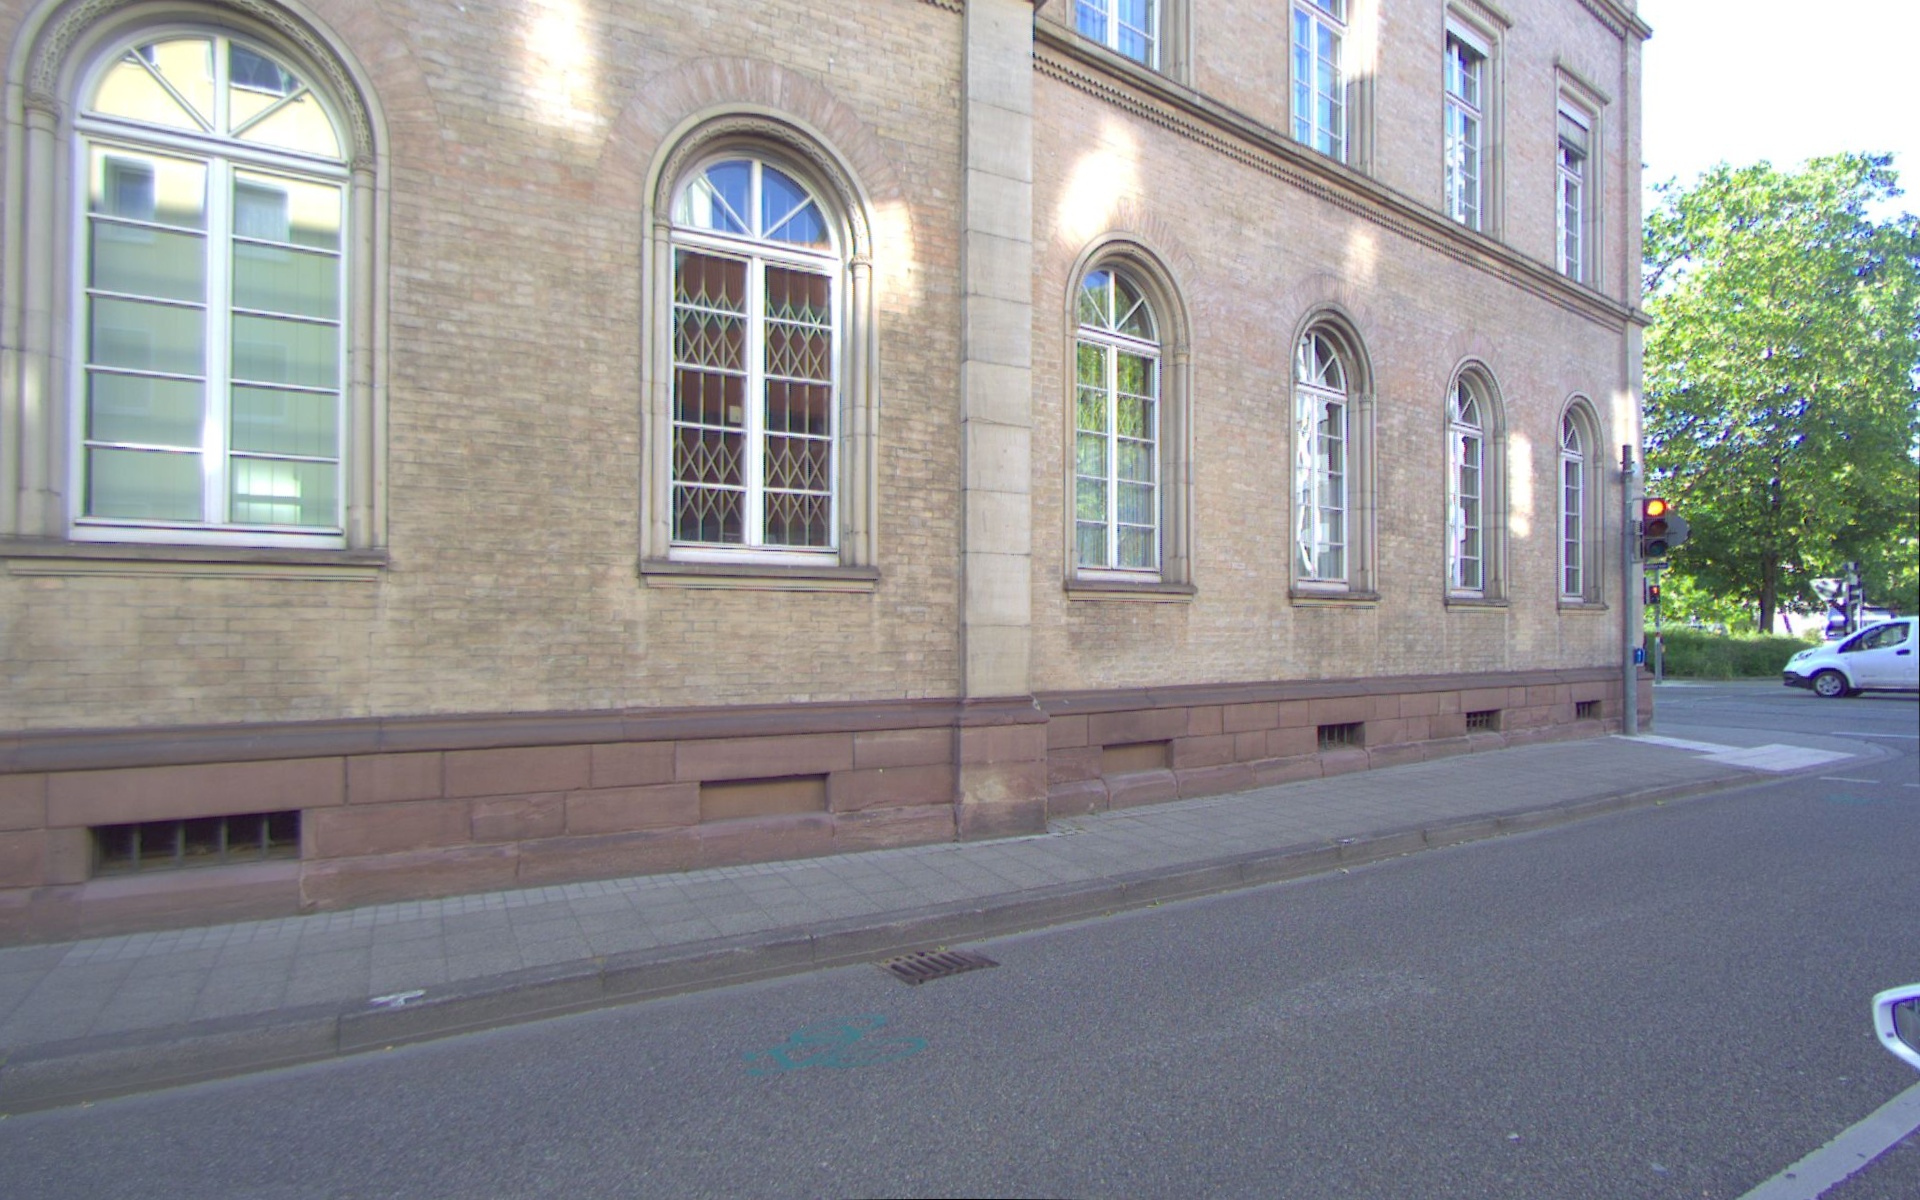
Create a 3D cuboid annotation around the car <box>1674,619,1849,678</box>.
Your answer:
[{"bbox_3d":[26.336,1.540,33.107,1.888,1.801,4.193,1,-2,-37],"label":"car"}]

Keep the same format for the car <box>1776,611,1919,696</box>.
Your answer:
[{"bbox_3d":[21.120,1.161,22.215,1.621,1.823,4.509,1,-3,-36],"label":"car"}]
